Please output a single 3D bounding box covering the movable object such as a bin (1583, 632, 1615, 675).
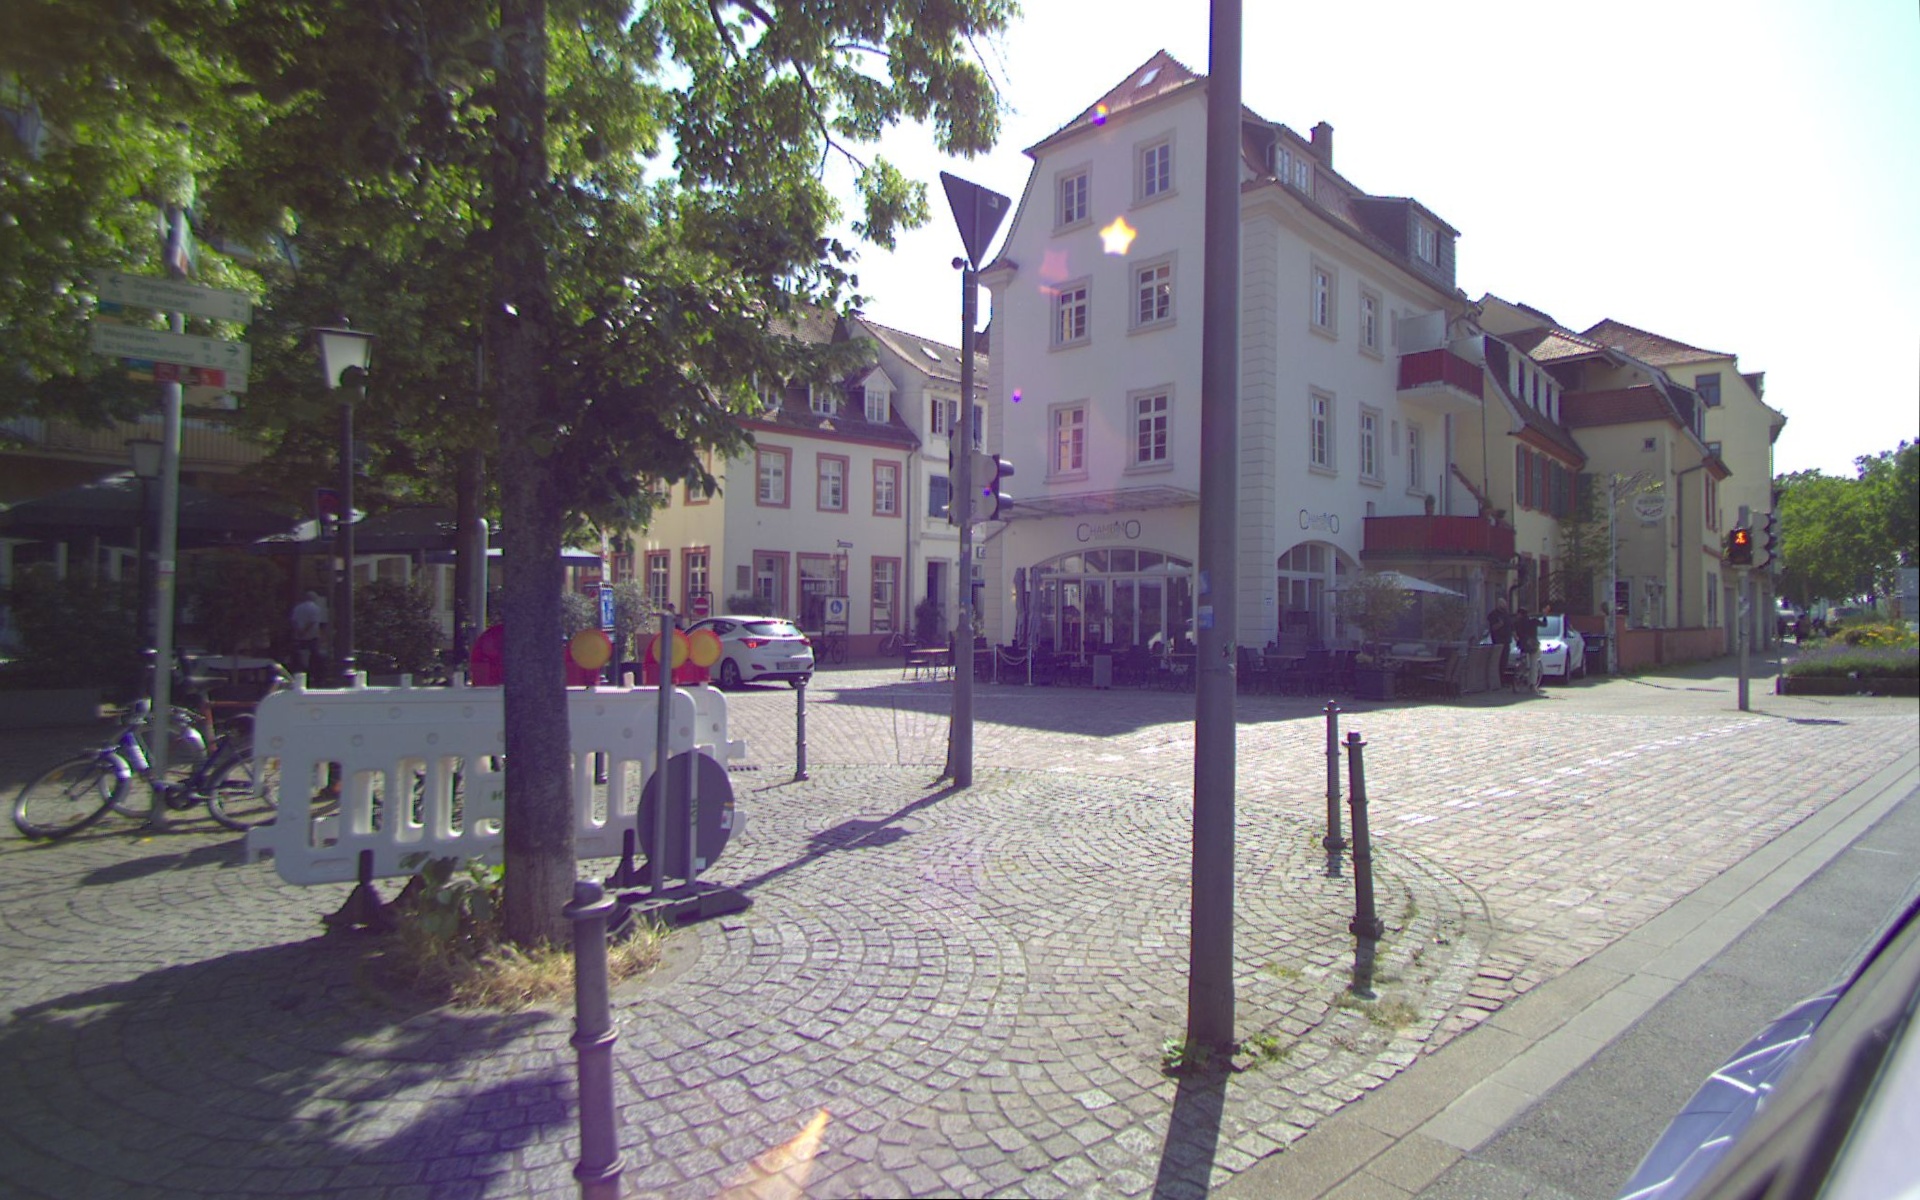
[{"bbox_3d":[16.779,1.402,26.578,0.358,1.081,0.642,1,-1,-42],"label":"movable object such as a bin"}]

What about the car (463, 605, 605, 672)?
[{"bbox_3d":[-11.989,1.063,28.436,3.977,1.617,1.826,1,-5,37],"label":"car"}]

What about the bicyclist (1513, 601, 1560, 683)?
[{"bbox_3d":[11.678,0.822,20.499,0.763,1.604,1.076,0,-1,33],"label":"bicyclist"}]

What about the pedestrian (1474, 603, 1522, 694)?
[{"bbox_3d":[11.522,1.012,21.680,0.761,1.881,0.601,2,0,40],"label":"pedestrian"}]

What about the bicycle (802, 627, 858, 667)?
[{"bbox_3d":[-4.110,1.461,31.948,1.871,1.208,0.630,0,-2,39],"label":"bicycle"}]

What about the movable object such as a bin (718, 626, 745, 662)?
[{"bbox_3d":[-7.256,1.381,32.160,0.588,1.120,0.669,1,-1,-42],"label":"movable object such as a bin"}]

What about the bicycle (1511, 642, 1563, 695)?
[{"bbox_3d":[11.758,1.361,20.605,0.747,0.976,1.759,-1,-1,35],"label":"bicycle"}]

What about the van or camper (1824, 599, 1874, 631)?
[{"bbox_3d":[76.613,1.284,87.290,2.078,2.590,7.009,-1,-1,32],"label":"van or camper"}]

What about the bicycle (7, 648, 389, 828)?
[{"bbox_3d":[-5.172,0.898,7.041,2.022,1.081,0.597,0,0,-24],"label":"bicycle"}]

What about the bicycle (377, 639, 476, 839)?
[{"bbox_3d":[-3.820,0.884,7.185,0.511,1.214,2.019,1,-3,-30],"label":"bicycle"}]

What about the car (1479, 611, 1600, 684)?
[{"bbox_3d":[14.072,1.067,24.449,1.873,1.598,4.661,-1,-1,38],"label":"car"}]

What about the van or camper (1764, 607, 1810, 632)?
[{"bbox_3d":[78.764,1.808,96.455,2.419,2.313,6.135,0,-1,31],"label":"van or camper"}]

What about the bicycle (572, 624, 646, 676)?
[{"bbox_3d":[-9.159,1.287,26.459,0.654,1.296,1.742,1,-2,36],"label":"bicycle"}]

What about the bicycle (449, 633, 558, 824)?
[{"bbox_3d":[-3.402,0.869,7.459,0.511,1.214,2.006,1,-3,-30],"label":"bicycle"}]

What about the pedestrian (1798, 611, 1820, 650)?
[{"bbox_3d":[38.114,1.344,45.416,0.736,1.720,0.920,0,-1,40],"label":"pedestrian"}]

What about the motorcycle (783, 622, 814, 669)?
[{"bbox_3d":[-4.965,1.358,31.100,0.748,1.299,2.333,0,1,-14],"label":"motorcycle"}]

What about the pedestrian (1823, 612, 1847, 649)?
[{"bbox_3d":[38.705,1.334,44.763,0.760,1.616,0.686,-1,-2,40],"label":"pedestrian"}]

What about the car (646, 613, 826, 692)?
[{"bbox_3d":[-4.705,1.069,20.919,1.802,1.475,3.989,4,-4,-44],"label":"car"}]

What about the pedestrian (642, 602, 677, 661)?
[{"bbox_3d":[-9.575,1.004,32.262,0.693,1.821,0.753,2,0,40],"label":"pedestrian"}]

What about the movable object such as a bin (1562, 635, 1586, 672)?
[{"bbox_3d":[16.400,1.430,27.035,0.315,0.956,0.495,1,-1,-42],"label":"movable object such as a bin"}]

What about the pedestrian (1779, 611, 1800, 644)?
[{"bbox_3d":[45.442,1.482,55.432,0.759,1.735,0.687,3,1,35],"label":"pedestrian"}]

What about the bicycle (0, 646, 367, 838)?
[{"bbox_3d":[-5.039,0.861,6.530,2.022,1.081,0.597,0,0,-24],"label":"bicycle"}]
